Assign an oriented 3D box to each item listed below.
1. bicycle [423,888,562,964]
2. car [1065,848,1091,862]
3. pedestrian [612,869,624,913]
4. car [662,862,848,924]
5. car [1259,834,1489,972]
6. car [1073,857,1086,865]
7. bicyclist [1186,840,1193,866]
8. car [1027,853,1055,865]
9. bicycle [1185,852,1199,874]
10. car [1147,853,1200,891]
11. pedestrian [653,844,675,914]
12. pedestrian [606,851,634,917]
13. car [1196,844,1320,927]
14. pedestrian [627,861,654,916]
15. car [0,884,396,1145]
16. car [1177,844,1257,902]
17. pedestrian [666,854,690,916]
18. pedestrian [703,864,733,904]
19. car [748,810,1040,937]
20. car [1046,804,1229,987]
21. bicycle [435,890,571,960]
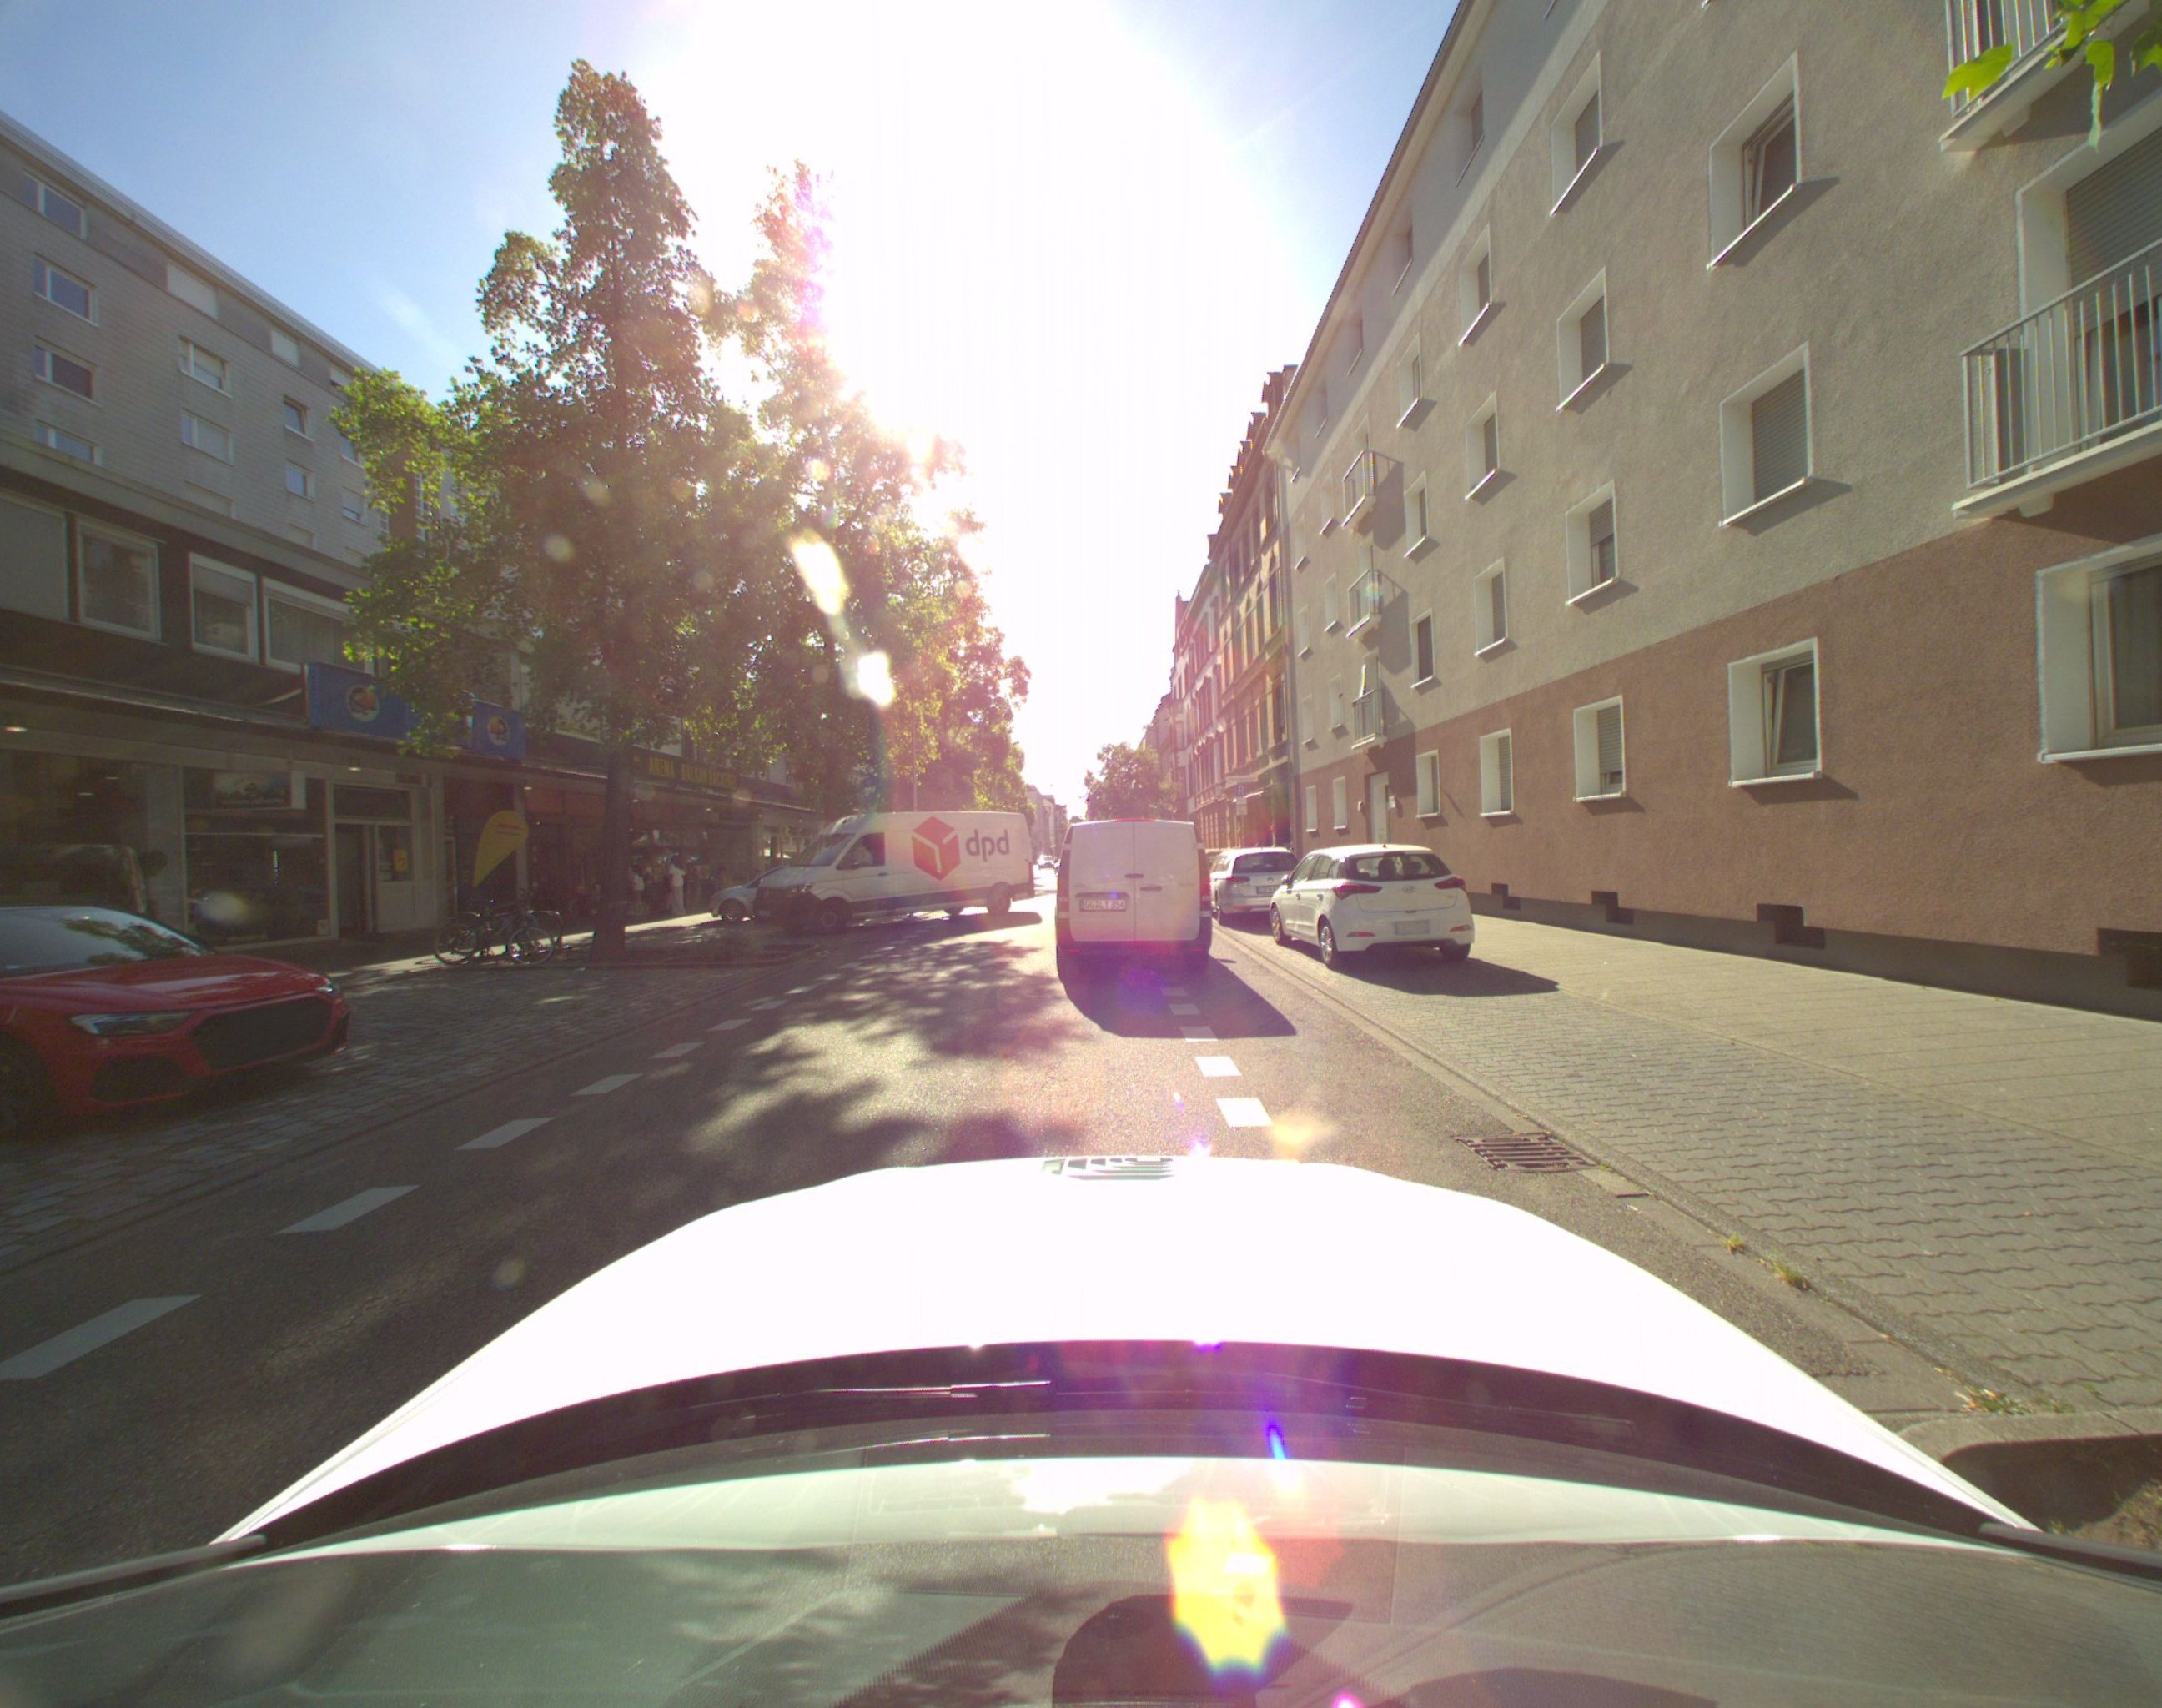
[{"bbox_3d":[-9.011,1.087,12.502,1.712,1.117,0.623,0,0,3],"label":"bicycle"},{"bbox_3d":[-0.403,0.216,126.429,3.973,2.013,2.000,-2,0,0],"label":"car"},{"bbox_3d":[-13.387,1.070,23.553,0.212,1.244,0.215,-1,-1,1],"label":"pedestrian"},{"bbox_3d":[-8.206,0.960,20.767,3.975,1.457,1.860,0,0,-1],"label":"car"},{"bbox_3d":[3.810,0.564,11.327,1.726,1.486,3.793,-4,0,-1],"label":"car"},{"bbox_3d":[-0.179,0.830,99.025,1.605,0.967,3.999,-2,0,0],"label":"car"},{"bbox_3d":[6.218,-0.052,46.575,0.359,1.477,0.531,-1,0,4],"label":"bicyclist"},{"bbox_3d":[-6.064,0.723,123.437,3.988,1.640,1.993,-2,0,-11],"label":"car"},{"bbox_3d":[6.314,0.489,46.380,0.534,1.148,2.127,-10,-2,5],"label":"bicycle"},{"bbox_3d":[3.909,0.733,34.980,1.733,1.451,3.999,-2,0,0],"label":"car"},{"bbox_3d":[-11.751,0.697,22.954,0.389,1.934,0.361,-1,-1,1],"label":"pedestrian"},{"bbox_3d":[-12.790,0.829,22.601,0.483,1.782,0.427,-2,0,-3],"label":"pedestrian"},{"bbox_3d":[3.602,0.584,17.368,1.778,1.460,4.519,-3,0,3],"label":"car"},{"bbox_3d":[-12.031,0.929,22.253,0.467,1.473,0.420,-2,0,-3],"label":"pedestrian"},{"bbox_3d":[-7.431,0.995,5.662,3.903,1.450,1.711,-1,0,2],"label":"car"},{"bbox_3d":[3.868,0.513,23.736,1.703,1.480,3.710,-2,0,0],"label":"car"},{"bbox_3d":[-11.201,0.854,22.628,0.389,1.705,0.502,-1,-1,1],"label":"pedestrian"},{"bbox_3d":[-12.463,1.028,27.998,0.721,1.330,0.702,-1,-1,-3],"label":"pedestrian"},{"bbox_3d":[-4.029,0.318,18.997,1.974,2.474,6.645,-2,0,42],"label":"car"},{"bbox_3d":[0.613,0.429,11.081,1.914,1.914,4.888,-1,0,0],"label":"car"},{"bbox_3d":[-9.551,1.156,13.483,1.860,1.106,0.587,0,0,3],"label":"bicycle"}]
